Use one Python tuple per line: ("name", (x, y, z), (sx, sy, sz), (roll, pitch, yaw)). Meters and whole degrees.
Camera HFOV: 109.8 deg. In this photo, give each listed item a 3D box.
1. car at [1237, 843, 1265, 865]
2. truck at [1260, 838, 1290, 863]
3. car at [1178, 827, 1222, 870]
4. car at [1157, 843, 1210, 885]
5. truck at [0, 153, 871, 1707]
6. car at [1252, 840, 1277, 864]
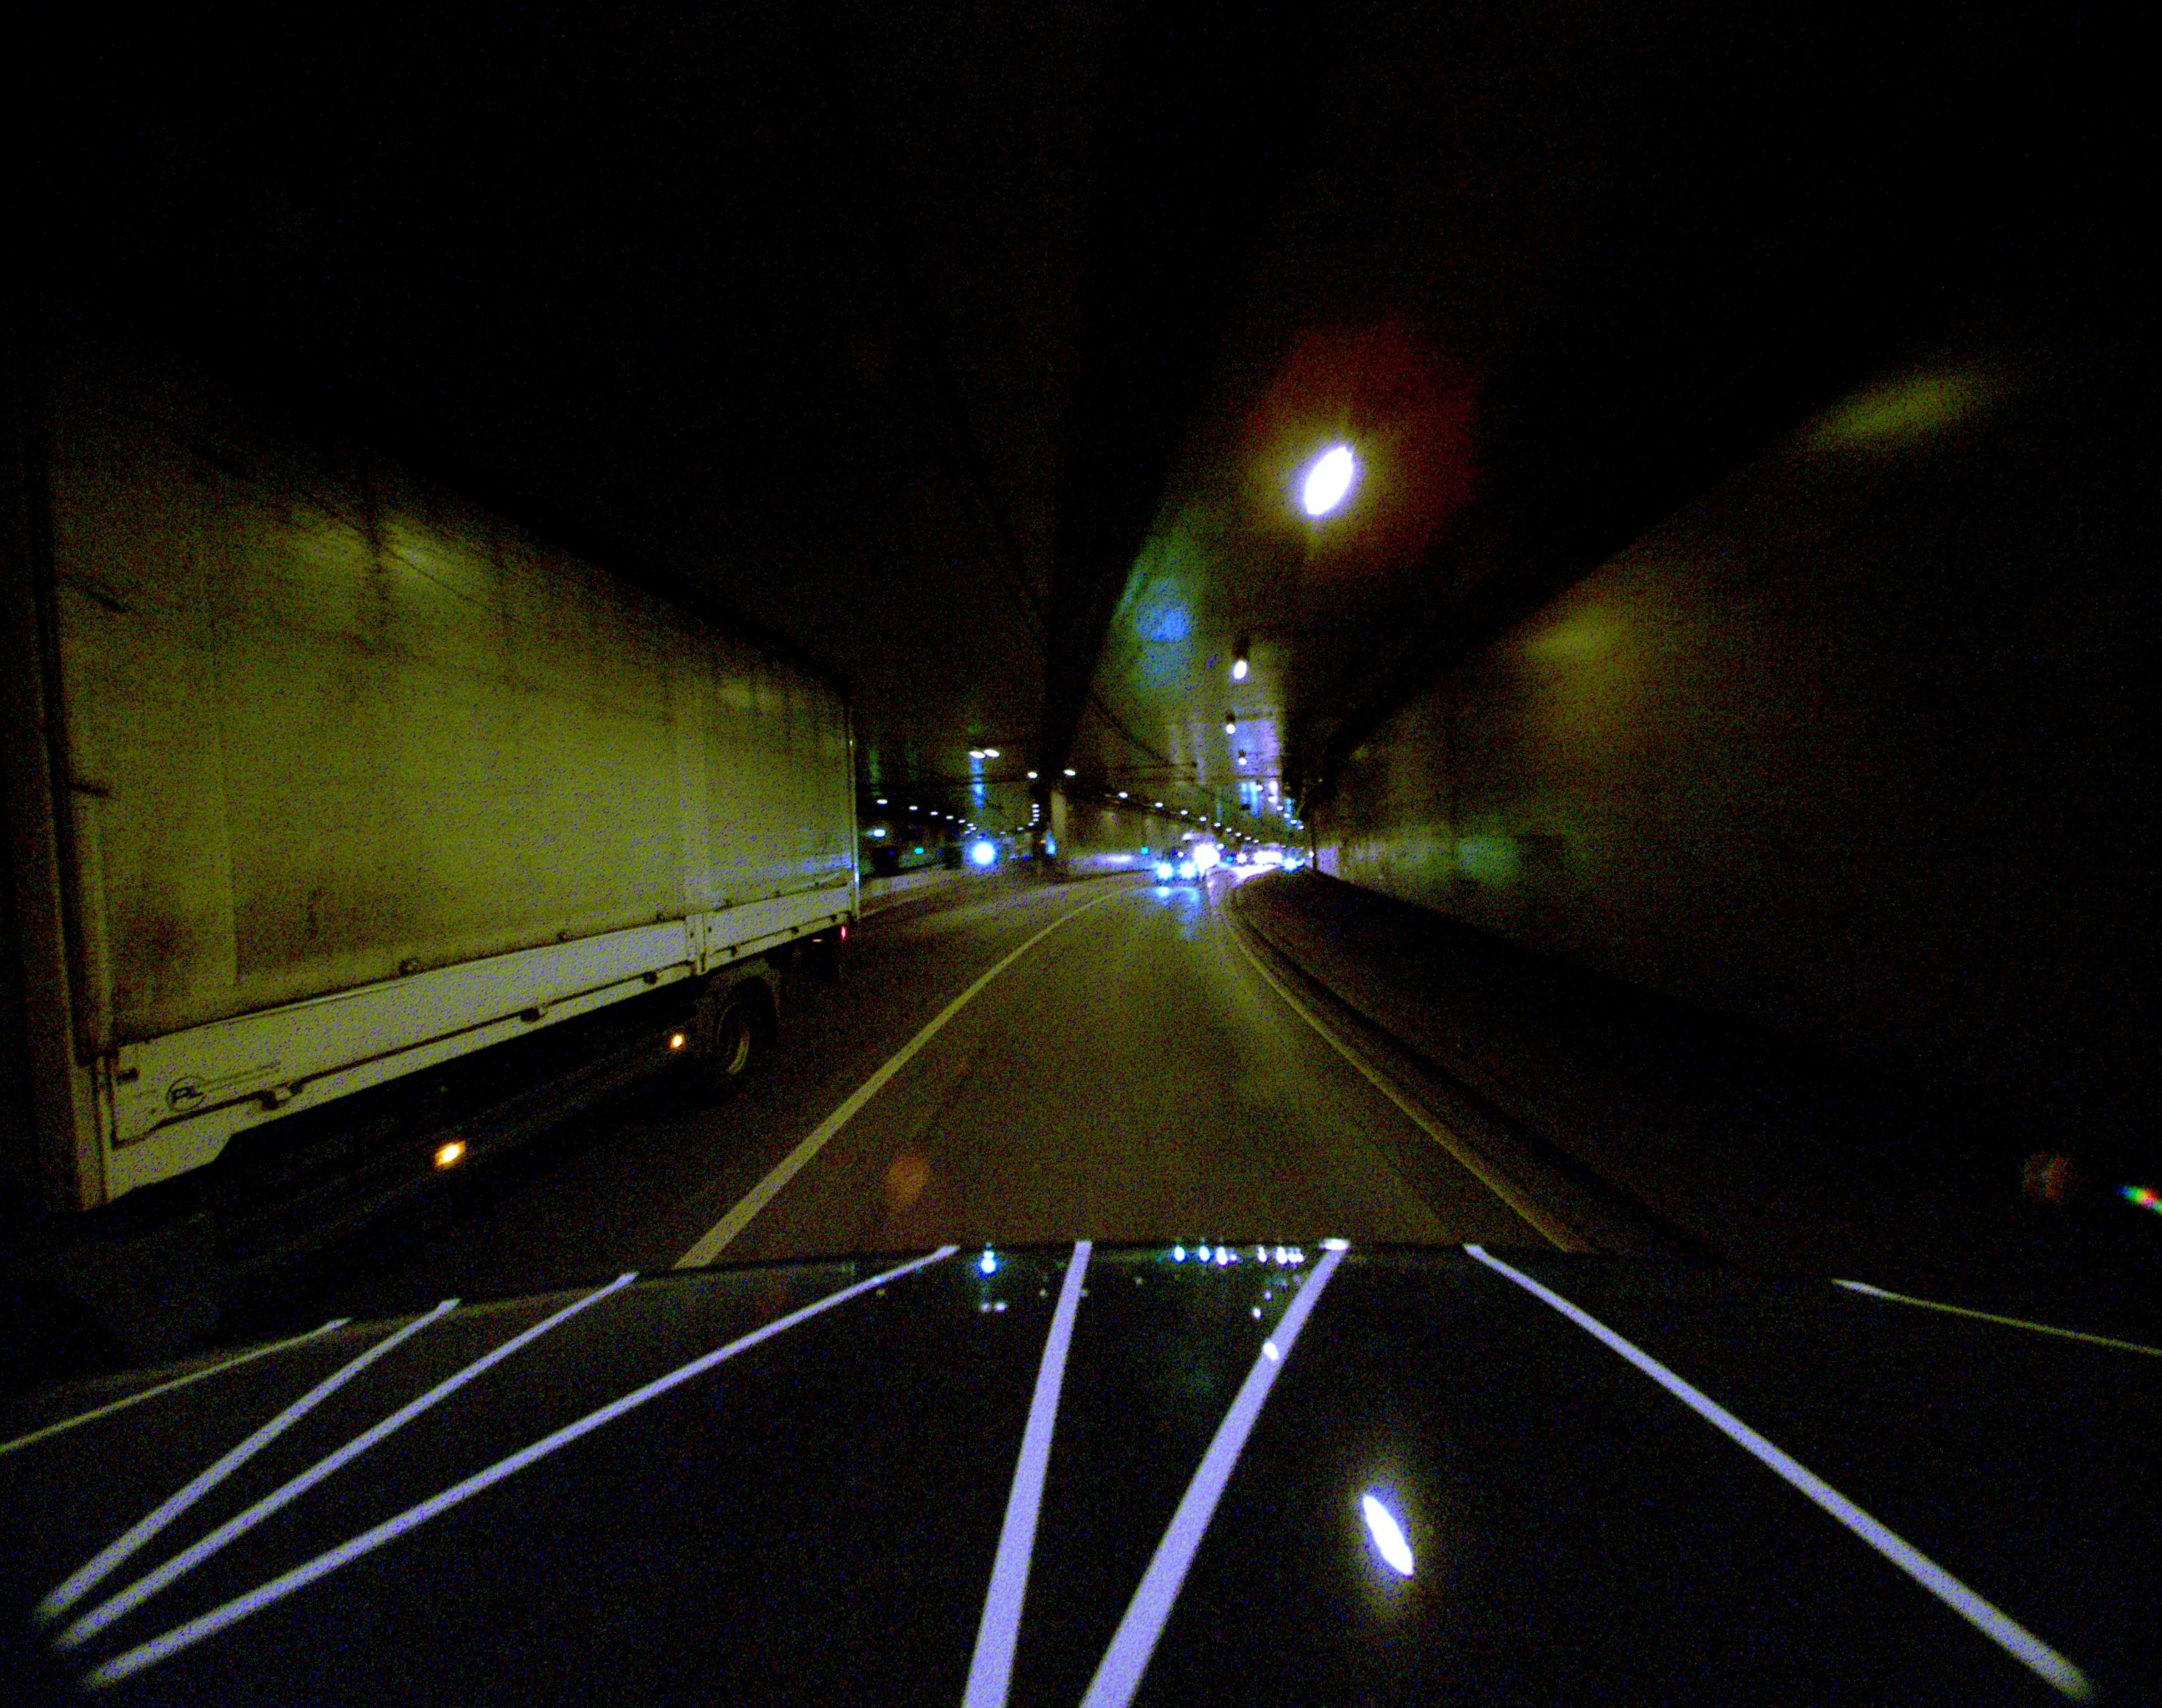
("car", (13.156, 0.007, 58.642), (1.762, 1.551, 3.823), (-4, -1, 15))
("truck", (21.592, -0.429, 84.455), (2.071, 2.525, 6.032), (-4, 1, 24))
("car", (8.832, -0.320, 55.950), (2.104, 2.829, 6.872), (-2, -2, 18))
("car", (4.114, 0.357, 30.112), (1.637, 1.552, 3.719), (-1, 1, 14))
("truck", (-3.402, 0.132, 3.451), (2.559, 3.163, 7.244), (-2, 1, 2))
("car", (17.132, -0.131, 70.750), (1.933, 1.917, 4.204), (-3, -3, 17))
